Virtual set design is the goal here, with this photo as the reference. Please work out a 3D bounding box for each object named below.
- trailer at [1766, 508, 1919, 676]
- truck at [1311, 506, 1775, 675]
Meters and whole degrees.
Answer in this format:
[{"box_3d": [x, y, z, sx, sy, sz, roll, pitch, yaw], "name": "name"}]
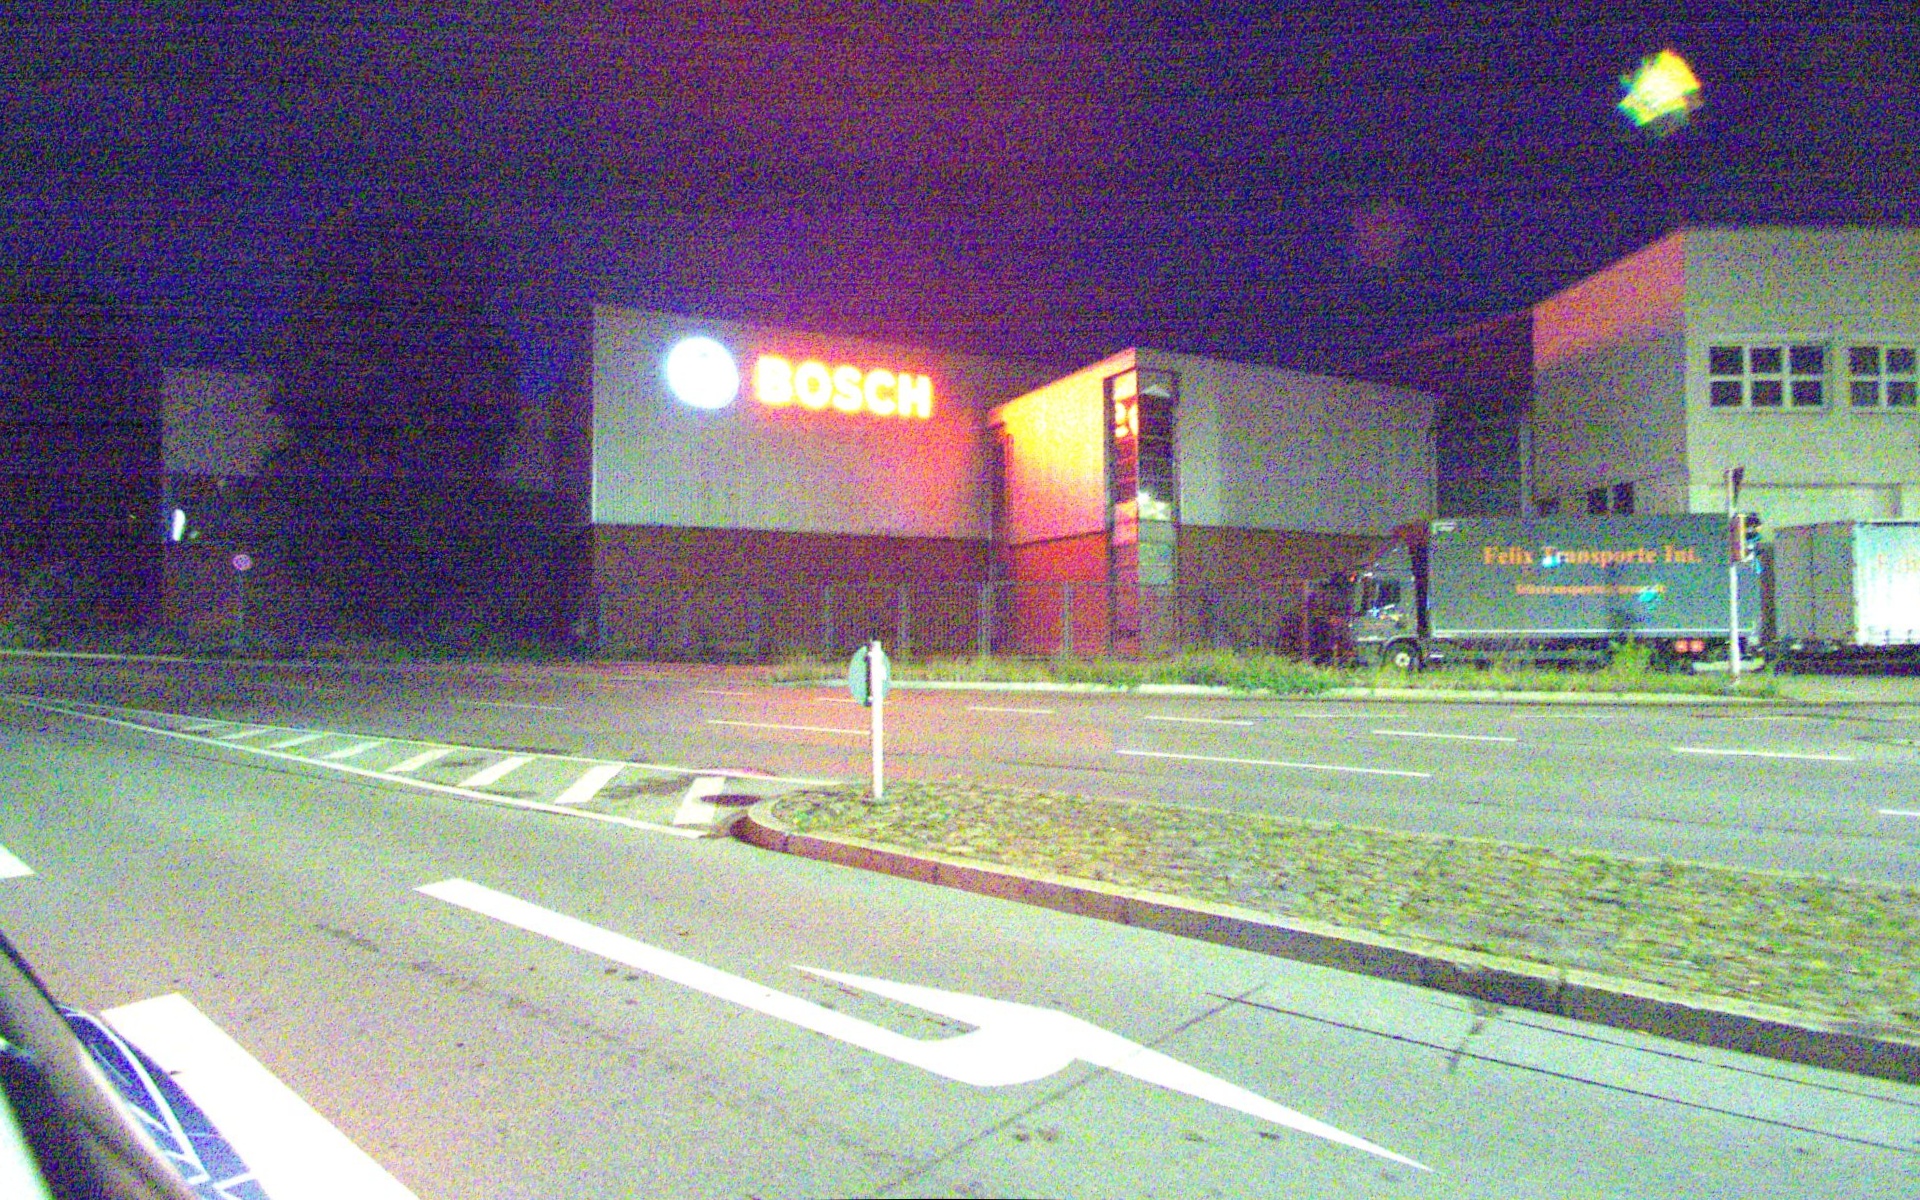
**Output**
[{"box_3d": [23.609, -0.159, 24.147, 6.430, 3.819, 2.619, 0, -1, 4], "name": "trailer"}, {"box_3d": [13.903, -0.230, 24.916, 9.439, 3.825, 2.942, 0, -1, 6], "name": "truck"}]
